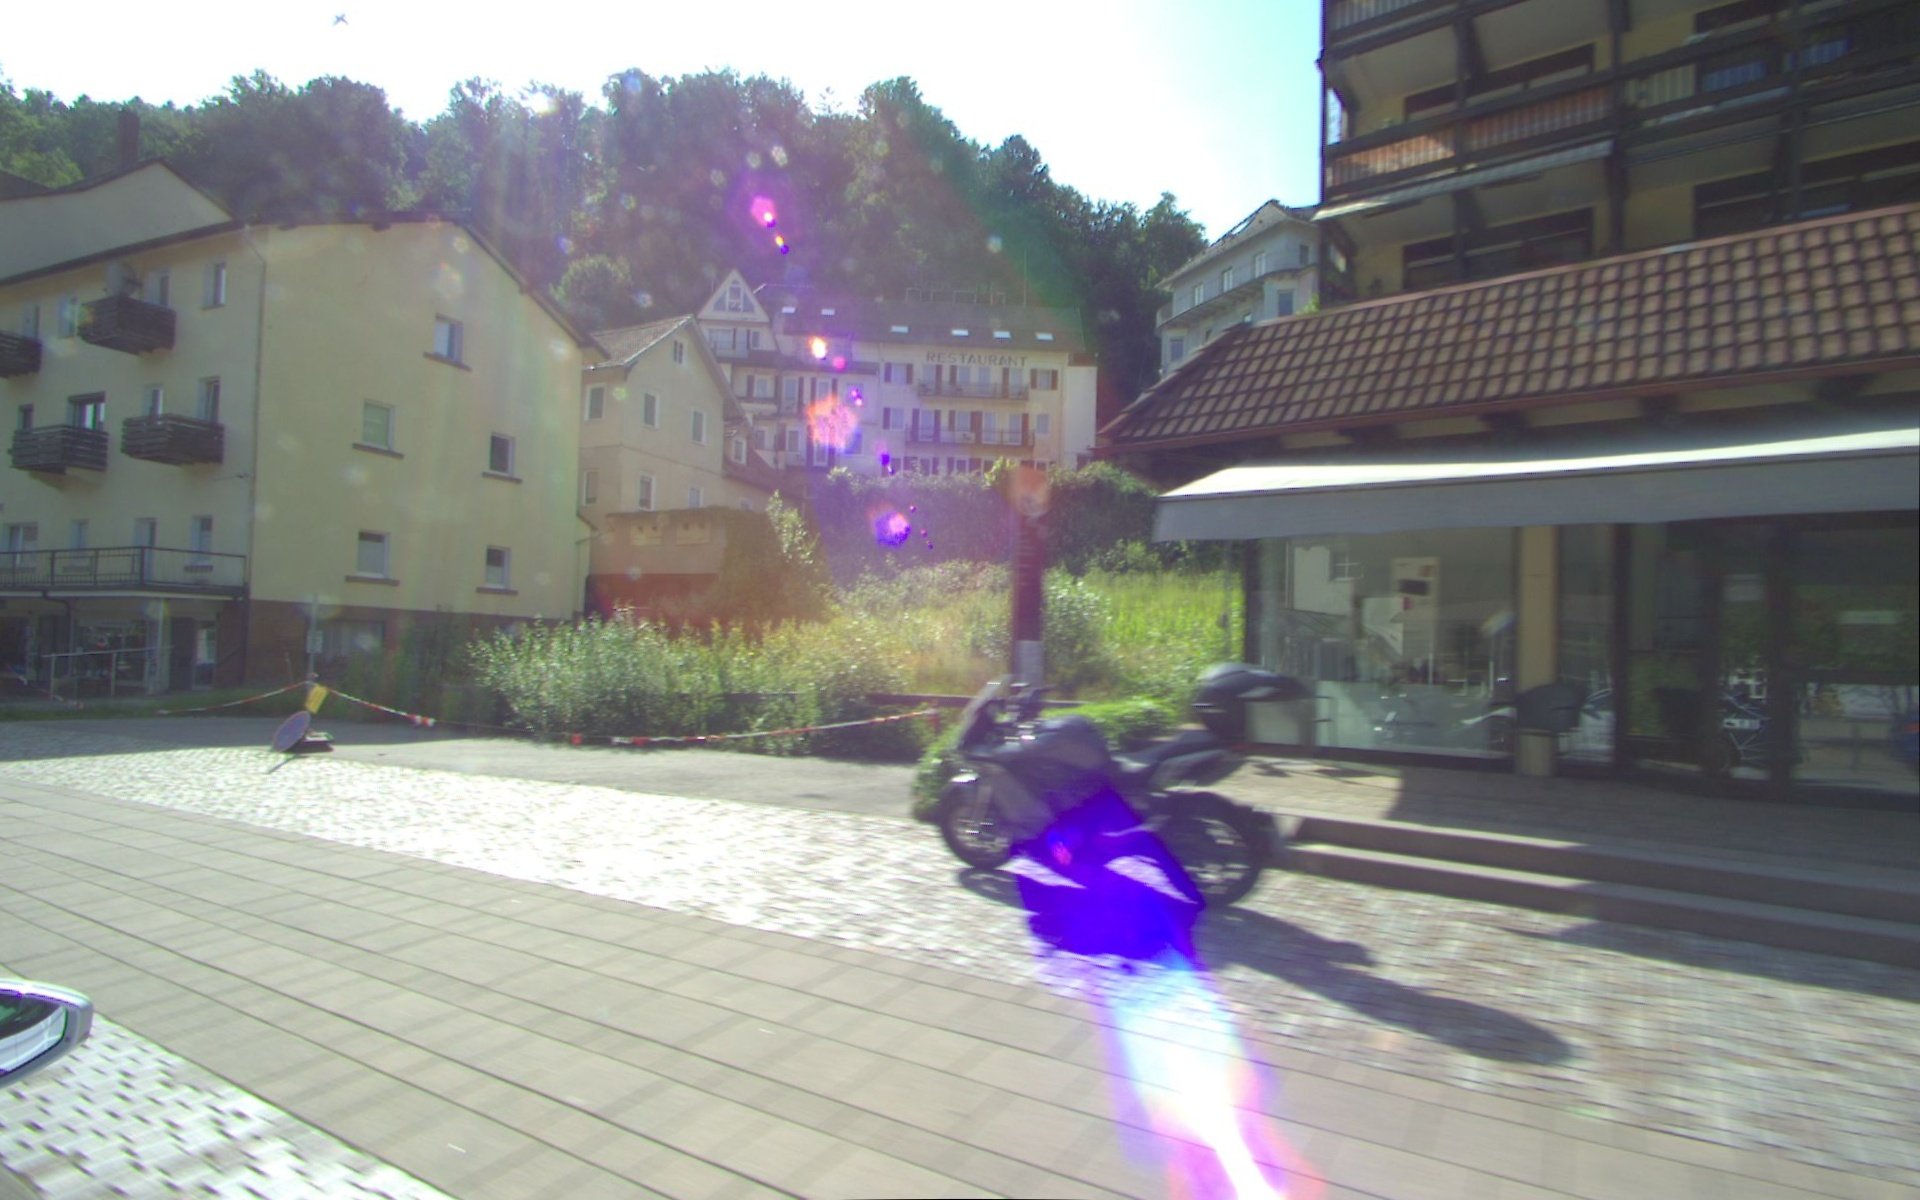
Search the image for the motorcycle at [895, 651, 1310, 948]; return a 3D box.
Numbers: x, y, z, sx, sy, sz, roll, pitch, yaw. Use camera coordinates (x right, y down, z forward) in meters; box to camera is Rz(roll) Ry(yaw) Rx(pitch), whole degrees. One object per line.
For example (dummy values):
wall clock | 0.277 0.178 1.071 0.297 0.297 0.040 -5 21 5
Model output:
motorcycle | 0.726 0.969 5.528 2.180 1.313 0.696 0 0 32
